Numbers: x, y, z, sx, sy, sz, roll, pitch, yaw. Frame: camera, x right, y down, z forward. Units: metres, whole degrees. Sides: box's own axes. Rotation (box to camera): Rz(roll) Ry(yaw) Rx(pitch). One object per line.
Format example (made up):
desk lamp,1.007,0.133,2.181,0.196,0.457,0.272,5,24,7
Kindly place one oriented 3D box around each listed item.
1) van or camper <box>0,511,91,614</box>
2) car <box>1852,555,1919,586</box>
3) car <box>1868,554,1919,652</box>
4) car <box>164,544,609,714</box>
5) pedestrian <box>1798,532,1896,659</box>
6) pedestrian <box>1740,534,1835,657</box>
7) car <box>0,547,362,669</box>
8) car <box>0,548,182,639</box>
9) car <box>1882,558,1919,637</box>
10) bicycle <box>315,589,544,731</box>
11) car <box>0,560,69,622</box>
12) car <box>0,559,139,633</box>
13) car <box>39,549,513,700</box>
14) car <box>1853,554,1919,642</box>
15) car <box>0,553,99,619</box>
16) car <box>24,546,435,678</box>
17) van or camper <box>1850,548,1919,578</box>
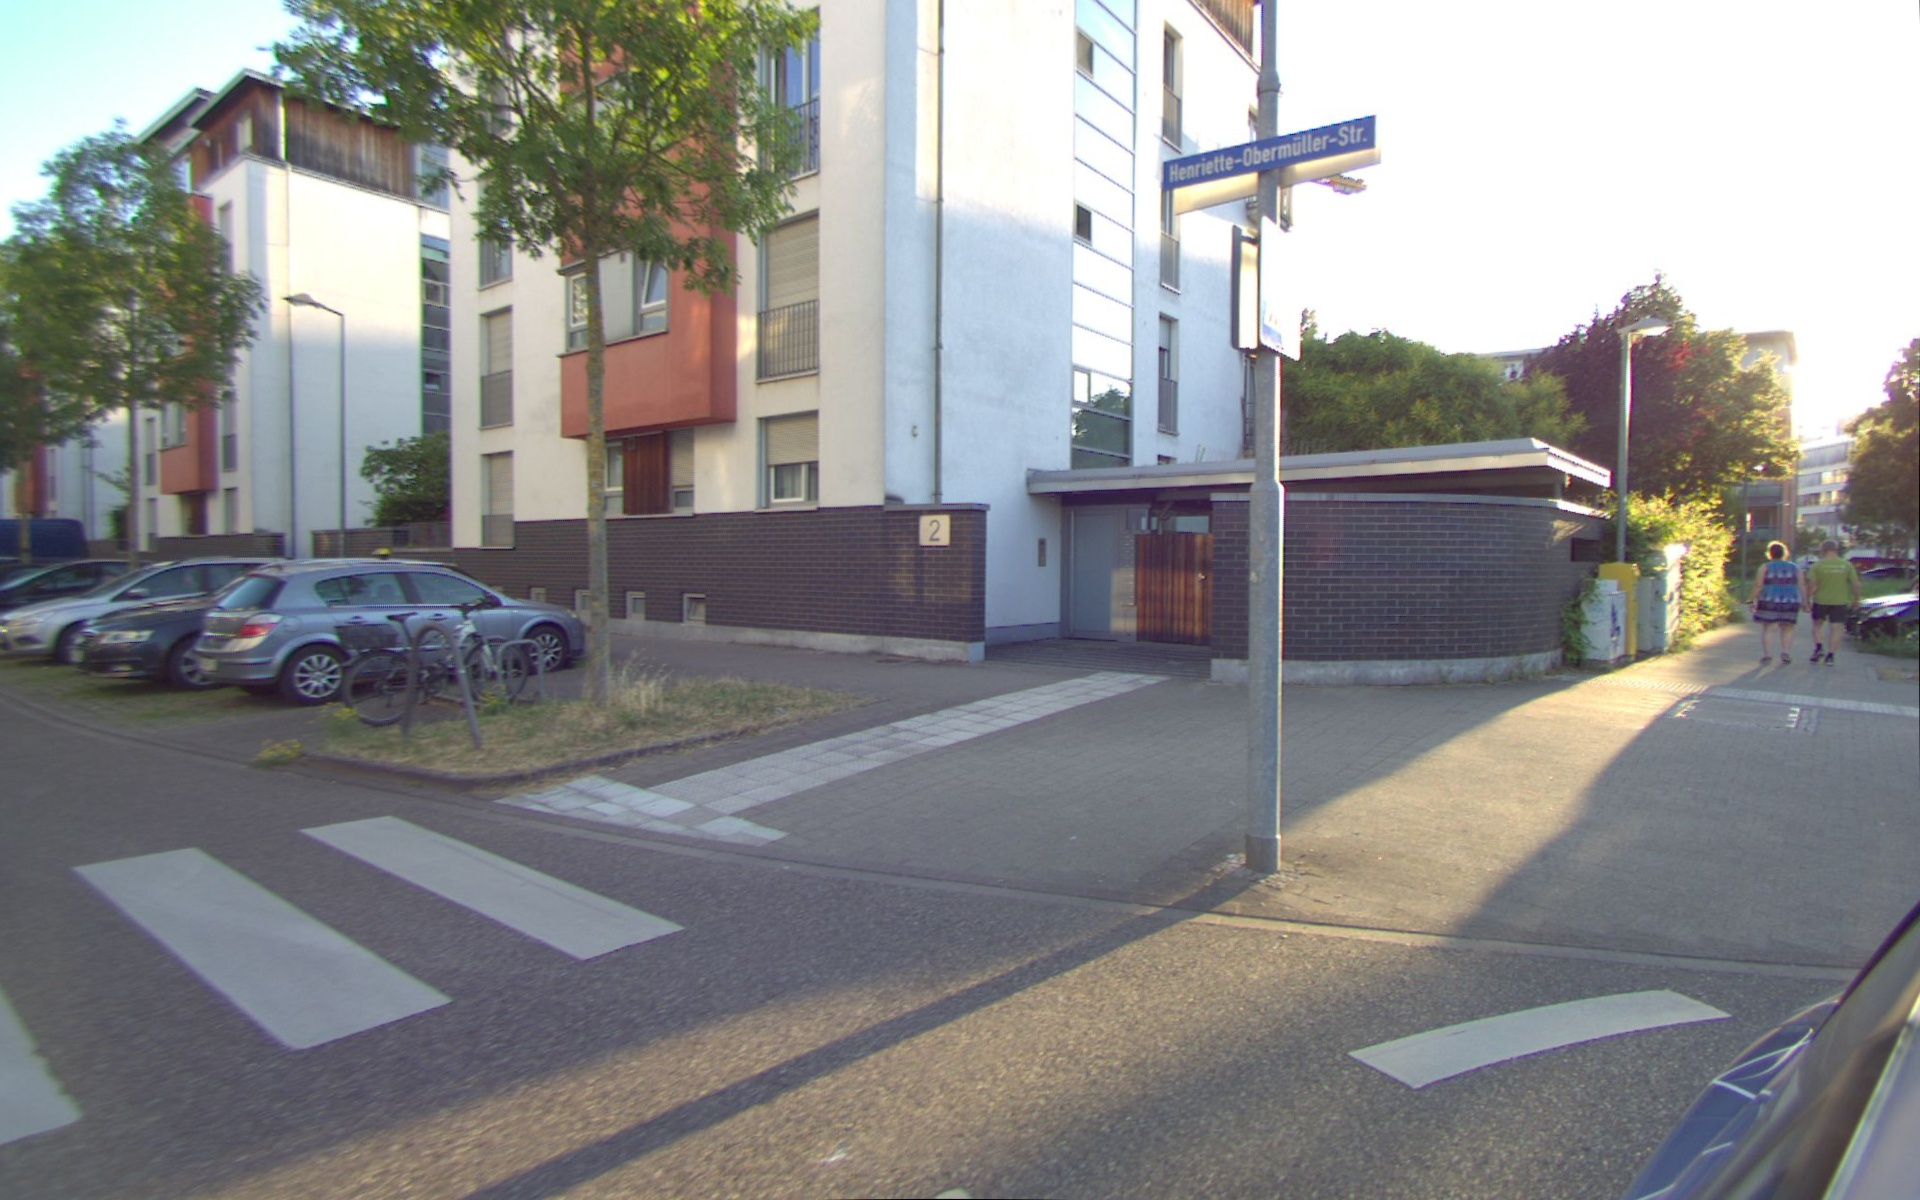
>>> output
van or camper,-30.584,-1.111,30.459,2.426,3.124,6.243,1,3,34
car,52.732,-1.681,56.783,3.855,1.715,1.681,1,2,36
car,16.457,0.065,15.730,3.396,1.540,1.666,3,3,41
car,-6.544,0.178,12.031,1.670,1.474,4.242,1,5,36
pedestrian,12.099,-0.081,13.829,0.613,1.687,0.744,0,3,1
pedestrian,11.287,-0.080,13.830,0.644,1.619,0.713,0,3,1
car,-12.751,0.003,16.636,1.747,1.604,4.707,1,4,34
car,-18.509,-0.182,20.620,1.712,1.731,3.875,1,3,34
car,19.881,-0.021,19.228,3.396,1.518,1.572,3,3,41
bicycle,-4.930,0.503,9.527,0.563,1.079,1.801,1,5,36
car,-26.740,-0.263,27.074,1.712,1.646,4.053,1,0,34
car,-20.747,-0.114,22.225,1.712,1.534,3.875,1,3,34
car,-8.658,0.153,13.328,1.700,1.496,4.858,1,4,36
car,17.942,-0.021,17.693,3.396,1.518,1.572,3,3,41
car,-24.628,-0.352,25.563,1.712,1.645,4.056,1,3,34
car,-10.712,0.041,15.182,1.704,1.573,4.719,1,4,42
van or camper,54.522,-2.155,59.031,3.862,1.715,1.808,1,2,41
